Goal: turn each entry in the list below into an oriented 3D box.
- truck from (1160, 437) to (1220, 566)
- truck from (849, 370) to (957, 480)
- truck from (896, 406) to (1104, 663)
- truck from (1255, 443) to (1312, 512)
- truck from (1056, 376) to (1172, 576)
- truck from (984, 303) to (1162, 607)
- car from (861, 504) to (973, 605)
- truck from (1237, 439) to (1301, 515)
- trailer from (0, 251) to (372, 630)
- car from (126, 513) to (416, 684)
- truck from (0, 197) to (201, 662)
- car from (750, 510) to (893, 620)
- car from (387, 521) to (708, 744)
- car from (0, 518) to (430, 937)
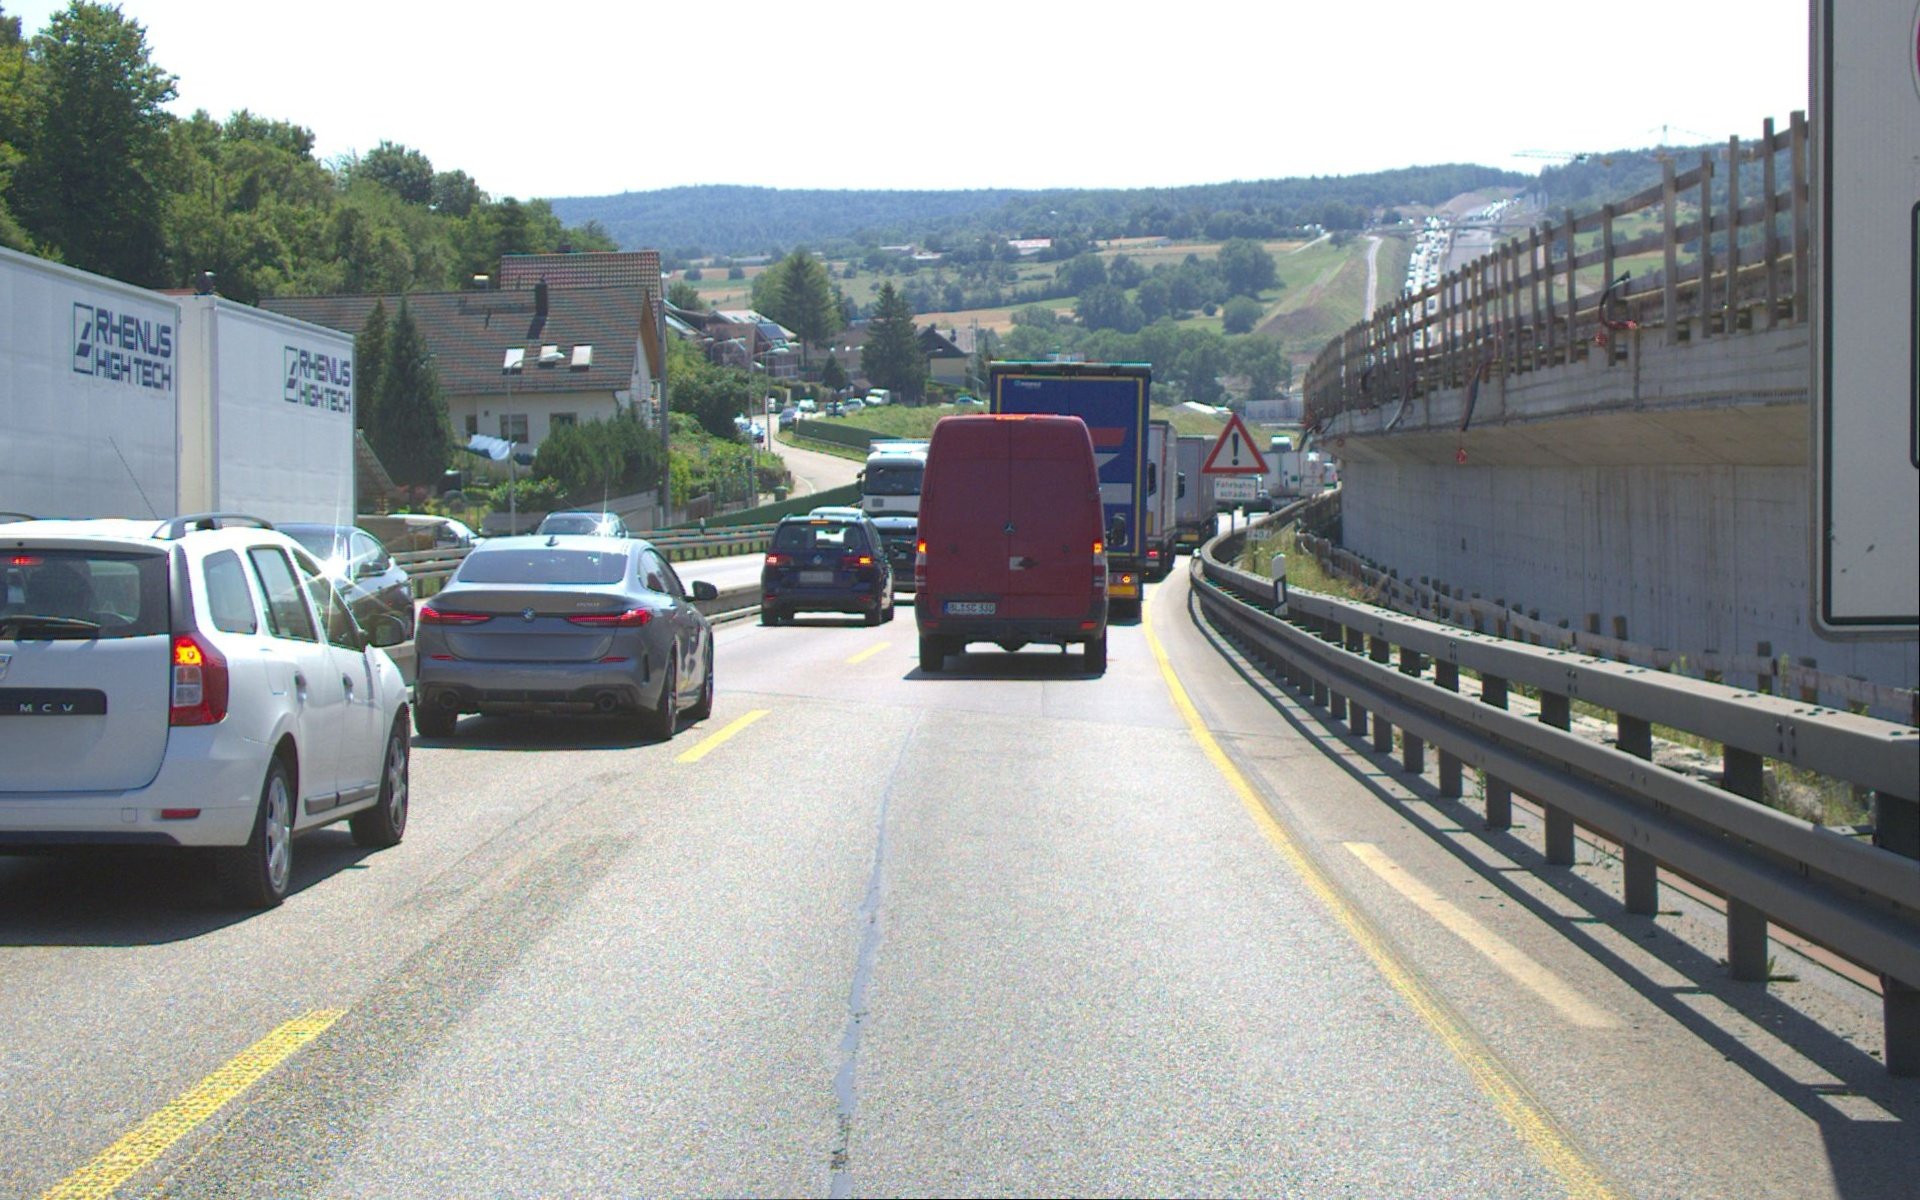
[{"bbox_3d":[7.970,-3.379,119.358,1.994,4.366,4.000,0,0,3],"label":"truck"},{"bbox_3d":[-2.127,-6.634,131.422,3.136,4.065,6.877,0,2,7],"label":"truck"},{"bbox_3d":[0.482,-0.669,36.432,1.994,2.570,4.000,0,0,3],"label":"truck"},{"bbox_3d":[21.767,-8.224,231.101,3.468,4.366,8.554,0,0,8],"label":"truck"},{"bbox_3d":[3.994,-3.045,88.051,2.786,4.799,9.684,0,0,3],"label":"truck"},{"bbox_3d":[2.044,-2.319,59.167,2.786,4.799,9.684,0,0,3],"label":"truck"},{"bbox_3d":[-0.779,-0.839,64.892,1.729,1.832,3.999,0,0,5],"label":"car"},{"bbox_3d":[19.004,-7.475,210.802,3.070,4.366,8.553,0,0,11],"label":"truck"},{"bbox_3d":[-9.657,-1.854,42.339,3.004,4.151,9.017,0,1,2],"label":"trailer"},{"bbox_3d":[-6.353,-0.072,32.188,1.782,1.473,4.621,0,1,0],"label":"car"},{"bbox_3d":[-9.991,-1.577,32.553,2.978,4.148,10.545,0,2,2],"label":"truck"},{"bbox_3d":[-2.061,-0.526,52.214,1.810,1.602,3.718,0,0,3],"label":"car"},{"bbox_3d":[-2.898,0.179,24.941,1.794,1.480,4.050,0,1,1],"label":"car"},{"bbox_3d":[-3.444,0.449,14.478,1.651,1.478,4.266,-2,1,1],"label":"car"}]
